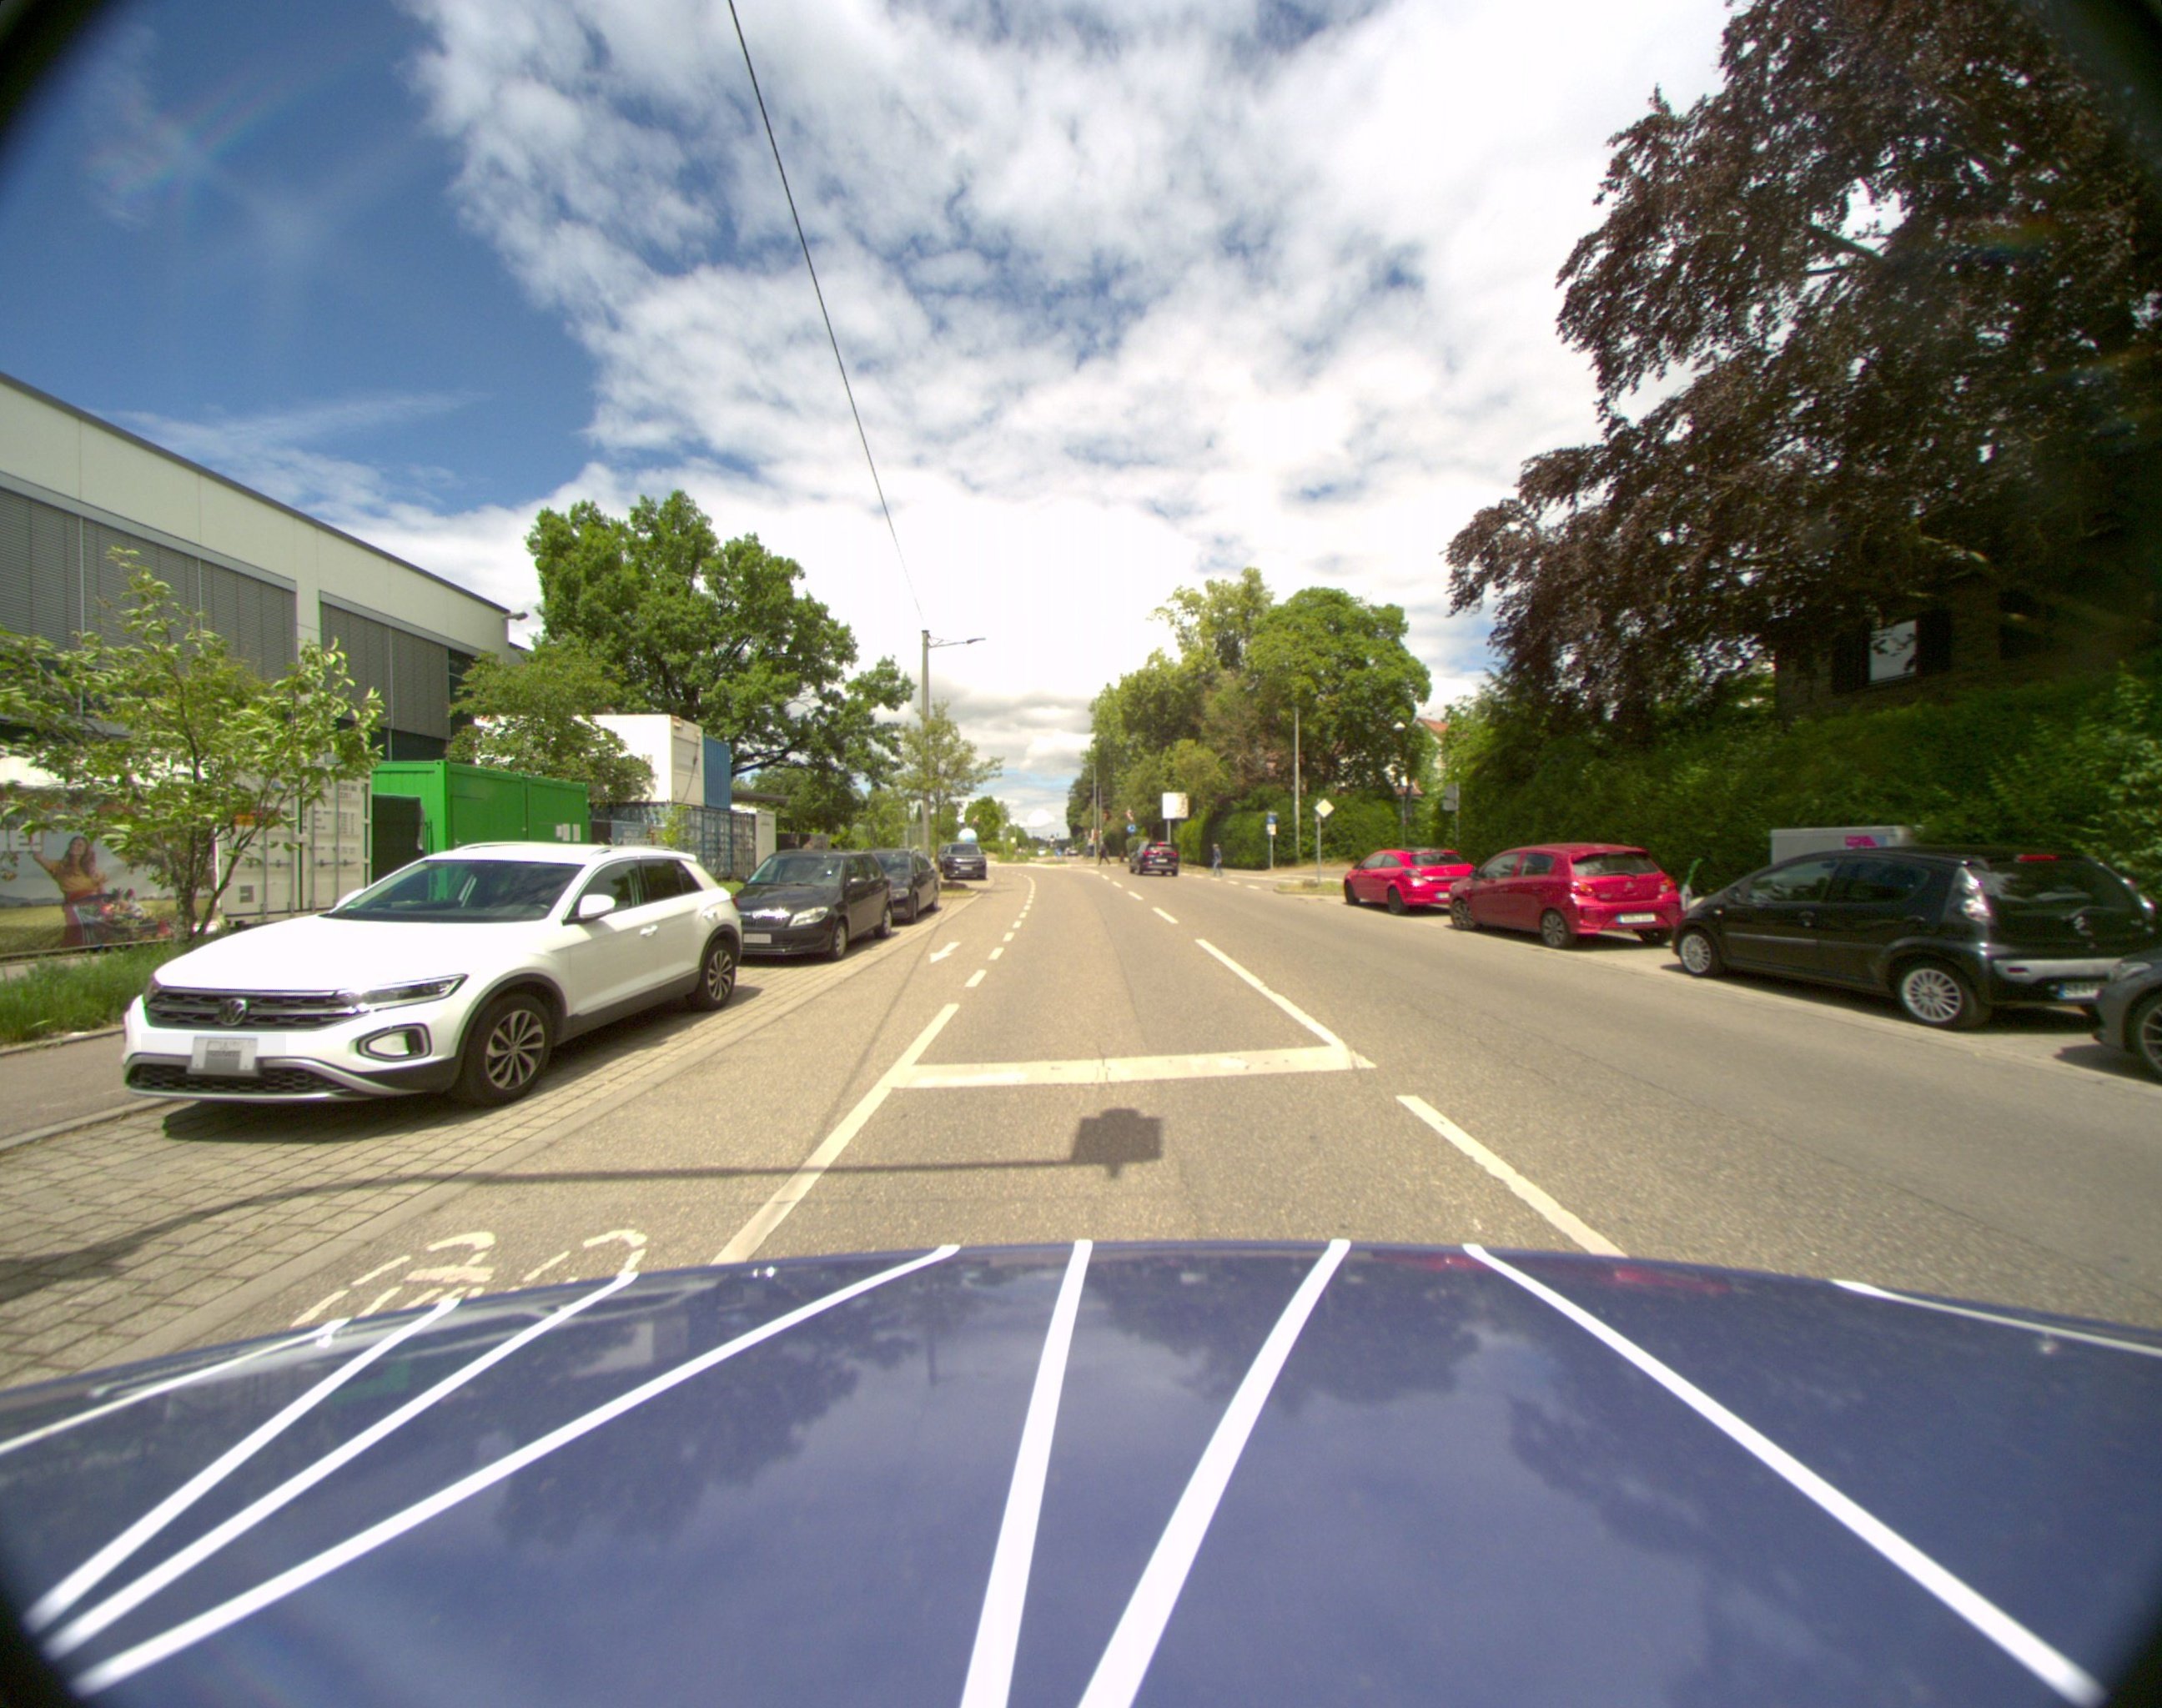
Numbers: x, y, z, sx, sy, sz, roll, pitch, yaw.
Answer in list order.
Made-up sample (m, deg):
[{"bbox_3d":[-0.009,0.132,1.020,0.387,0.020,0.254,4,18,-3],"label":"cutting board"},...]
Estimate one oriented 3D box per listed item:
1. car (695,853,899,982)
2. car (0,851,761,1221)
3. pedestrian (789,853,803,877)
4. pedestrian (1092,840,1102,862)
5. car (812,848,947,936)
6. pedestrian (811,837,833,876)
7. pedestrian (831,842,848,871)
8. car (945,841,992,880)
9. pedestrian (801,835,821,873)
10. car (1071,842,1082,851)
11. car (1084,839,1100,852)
[{"bbox_3d":[-3.987,0.782,11.401,1.572,1.485,3.999,1,2,0],"label":"car"},{"bbox_3d":[-4.236,0.860,5.776,1.741,1.607,4.385,2,2,0],"label":"car"},{"bbox_3d":[-12.751,0.469,33.986,0.412,1.052,0.566,-1,2,-3],"label":"pedestrian"},{"bbox_3d":[1.204,-0.227,56.751,0.746,1.682,0.694,-1,2,-1],"label":"pedestrian"},{"bbox_3d":[-4.143,0.677,16.424,1.769,1.469,4.933,2,2,-3],"label":"car"},{"bbox_3d":[-11.394,0.118,33.437,0.653,1.688,0.844,-1,2,-3],"label":"pedestrian"},{"bbox_3d":[-13.927,0.141,43.839,0.745,1.609,0.767,-1,2,-3],"label":"pedestrian"},{"bbox_3d":[-5.219,0.232,34.819,1.885,1.612,4.840,1,1,-11],"label":"car"},{"bbox_3d":[-12.222,0.004,34.426,0.652,1.687,0.724,-1,2,-3],"label":"pedestrian"},{"bbox_3d":[-0.871,-1.460,145.573,1.863,1.568,3.998,-1,2,-2],"label":"car"},{"bbox_3d":[1.562,-1.220,106.489,1.681,1.652,3.996,0,2,-7],"label":"car"}]
